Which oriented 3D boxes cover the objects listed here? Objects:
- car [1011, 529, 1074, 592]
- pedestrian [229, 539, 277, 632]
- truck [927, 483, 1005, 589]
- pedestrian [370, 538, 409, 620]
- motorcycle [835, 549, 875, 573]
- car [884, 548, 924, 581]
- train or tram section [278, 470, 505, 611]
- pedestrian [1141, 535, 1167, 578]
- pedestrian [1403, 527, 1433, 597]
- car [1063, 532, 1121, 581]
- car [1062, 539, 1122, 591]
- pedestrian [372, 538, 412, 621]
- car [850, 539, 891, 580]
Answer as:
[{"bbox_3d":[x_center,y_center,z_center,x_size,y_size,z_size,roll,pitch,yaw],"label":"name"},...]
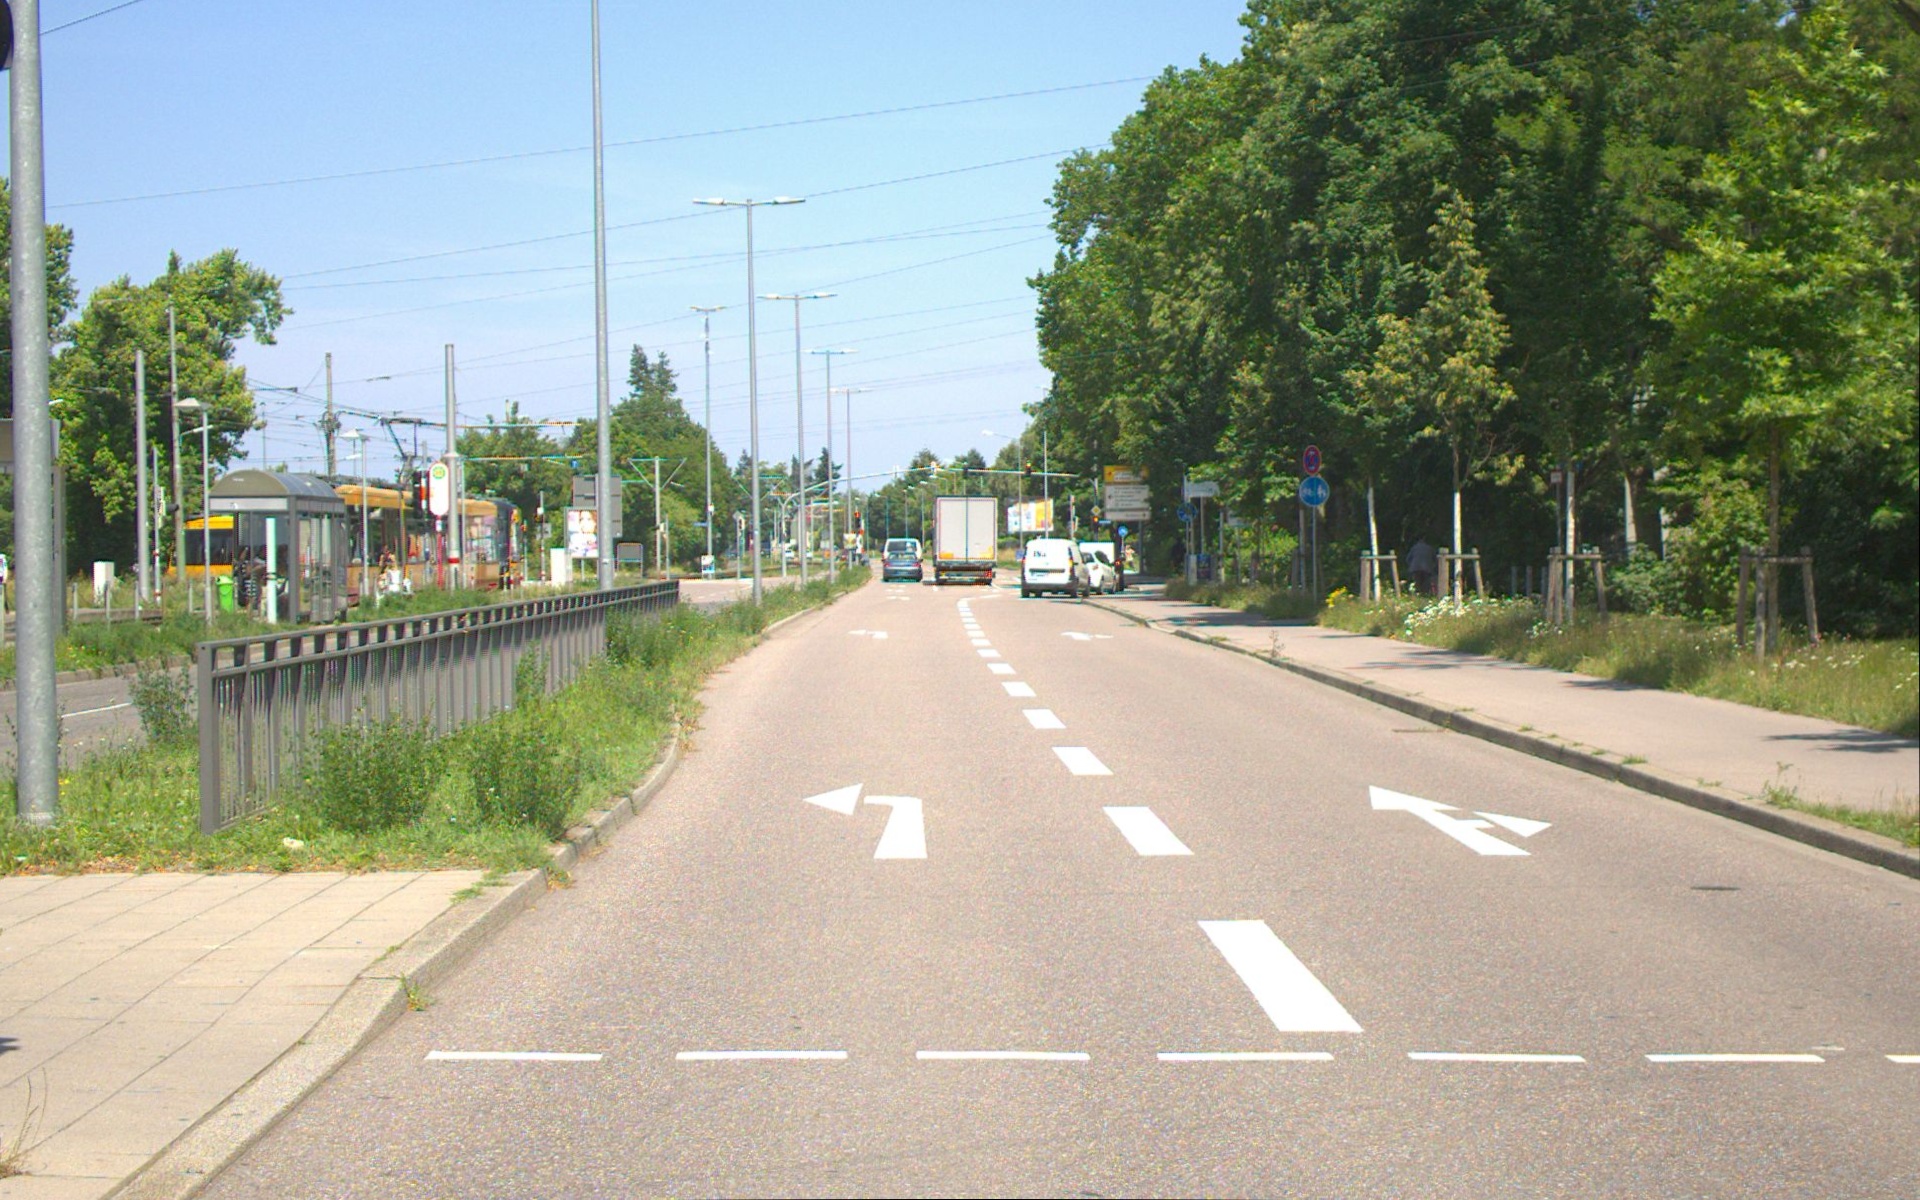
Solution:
[{"bbox_3d":[2.508,-1.221,105.519,1.779,1.897,4.000,0,1,-1],"label":"car"},{"bbox_3d":[-14.258,-0.301,69.306,0.785,1.862,0.817,0,1,-1],"label":"pedestrian"},{"bbox_3d":[0.211,-2.718,146.056,3.205,4.344,6.561,0,1,-1],"label":"truck"},{"bbox_3d":[-14.096,-0.523,84.952,0.815,2.007,0.938,0,1,-1],"label":"pedestrian"},{"bbox_3d":[-6.119,-2.263,200.332,2.182,1.402,0.848,-1,1,-11],"label":"motorcycle"},{"bbox_3d":[-2.559,-1.650,157.888,1.811,1.459,4.000,0,1,-1],"label":"car"},{"bbox_3d":[-17.134,-1.850,106.661,2.957,3.736,30.036,0,1,-2],"label":"train or tram section"},{"bbox_3d":[9.203,-2.070,163.144,1.185,2.007,1.214,0,1,0],"label":"pedestrian"},{"bbox_3d":[9.459,-0.791,70.994,0.604,1.433,0.556,0,1,6],"label":"pedestrian"},{"bbox_3d":[4.546,-1.514,118.792,1.779,1.663,4.000,0,1,-1],"label":"car"},{"bbox_3d":[4.297,-1.149,112.408,1.779,1.663,4.000,0,1,-1],"label":"car"},{"bbox_3d":[-13.818,-0.507,83.658,0.815,2.007,0.938,0,1,-1],"label":"pedestrian"},{"bbox_3d":[-4.555,-2.074,175.169,1.993,2.007,4.000,0,1,-1],"label":"car"}]
